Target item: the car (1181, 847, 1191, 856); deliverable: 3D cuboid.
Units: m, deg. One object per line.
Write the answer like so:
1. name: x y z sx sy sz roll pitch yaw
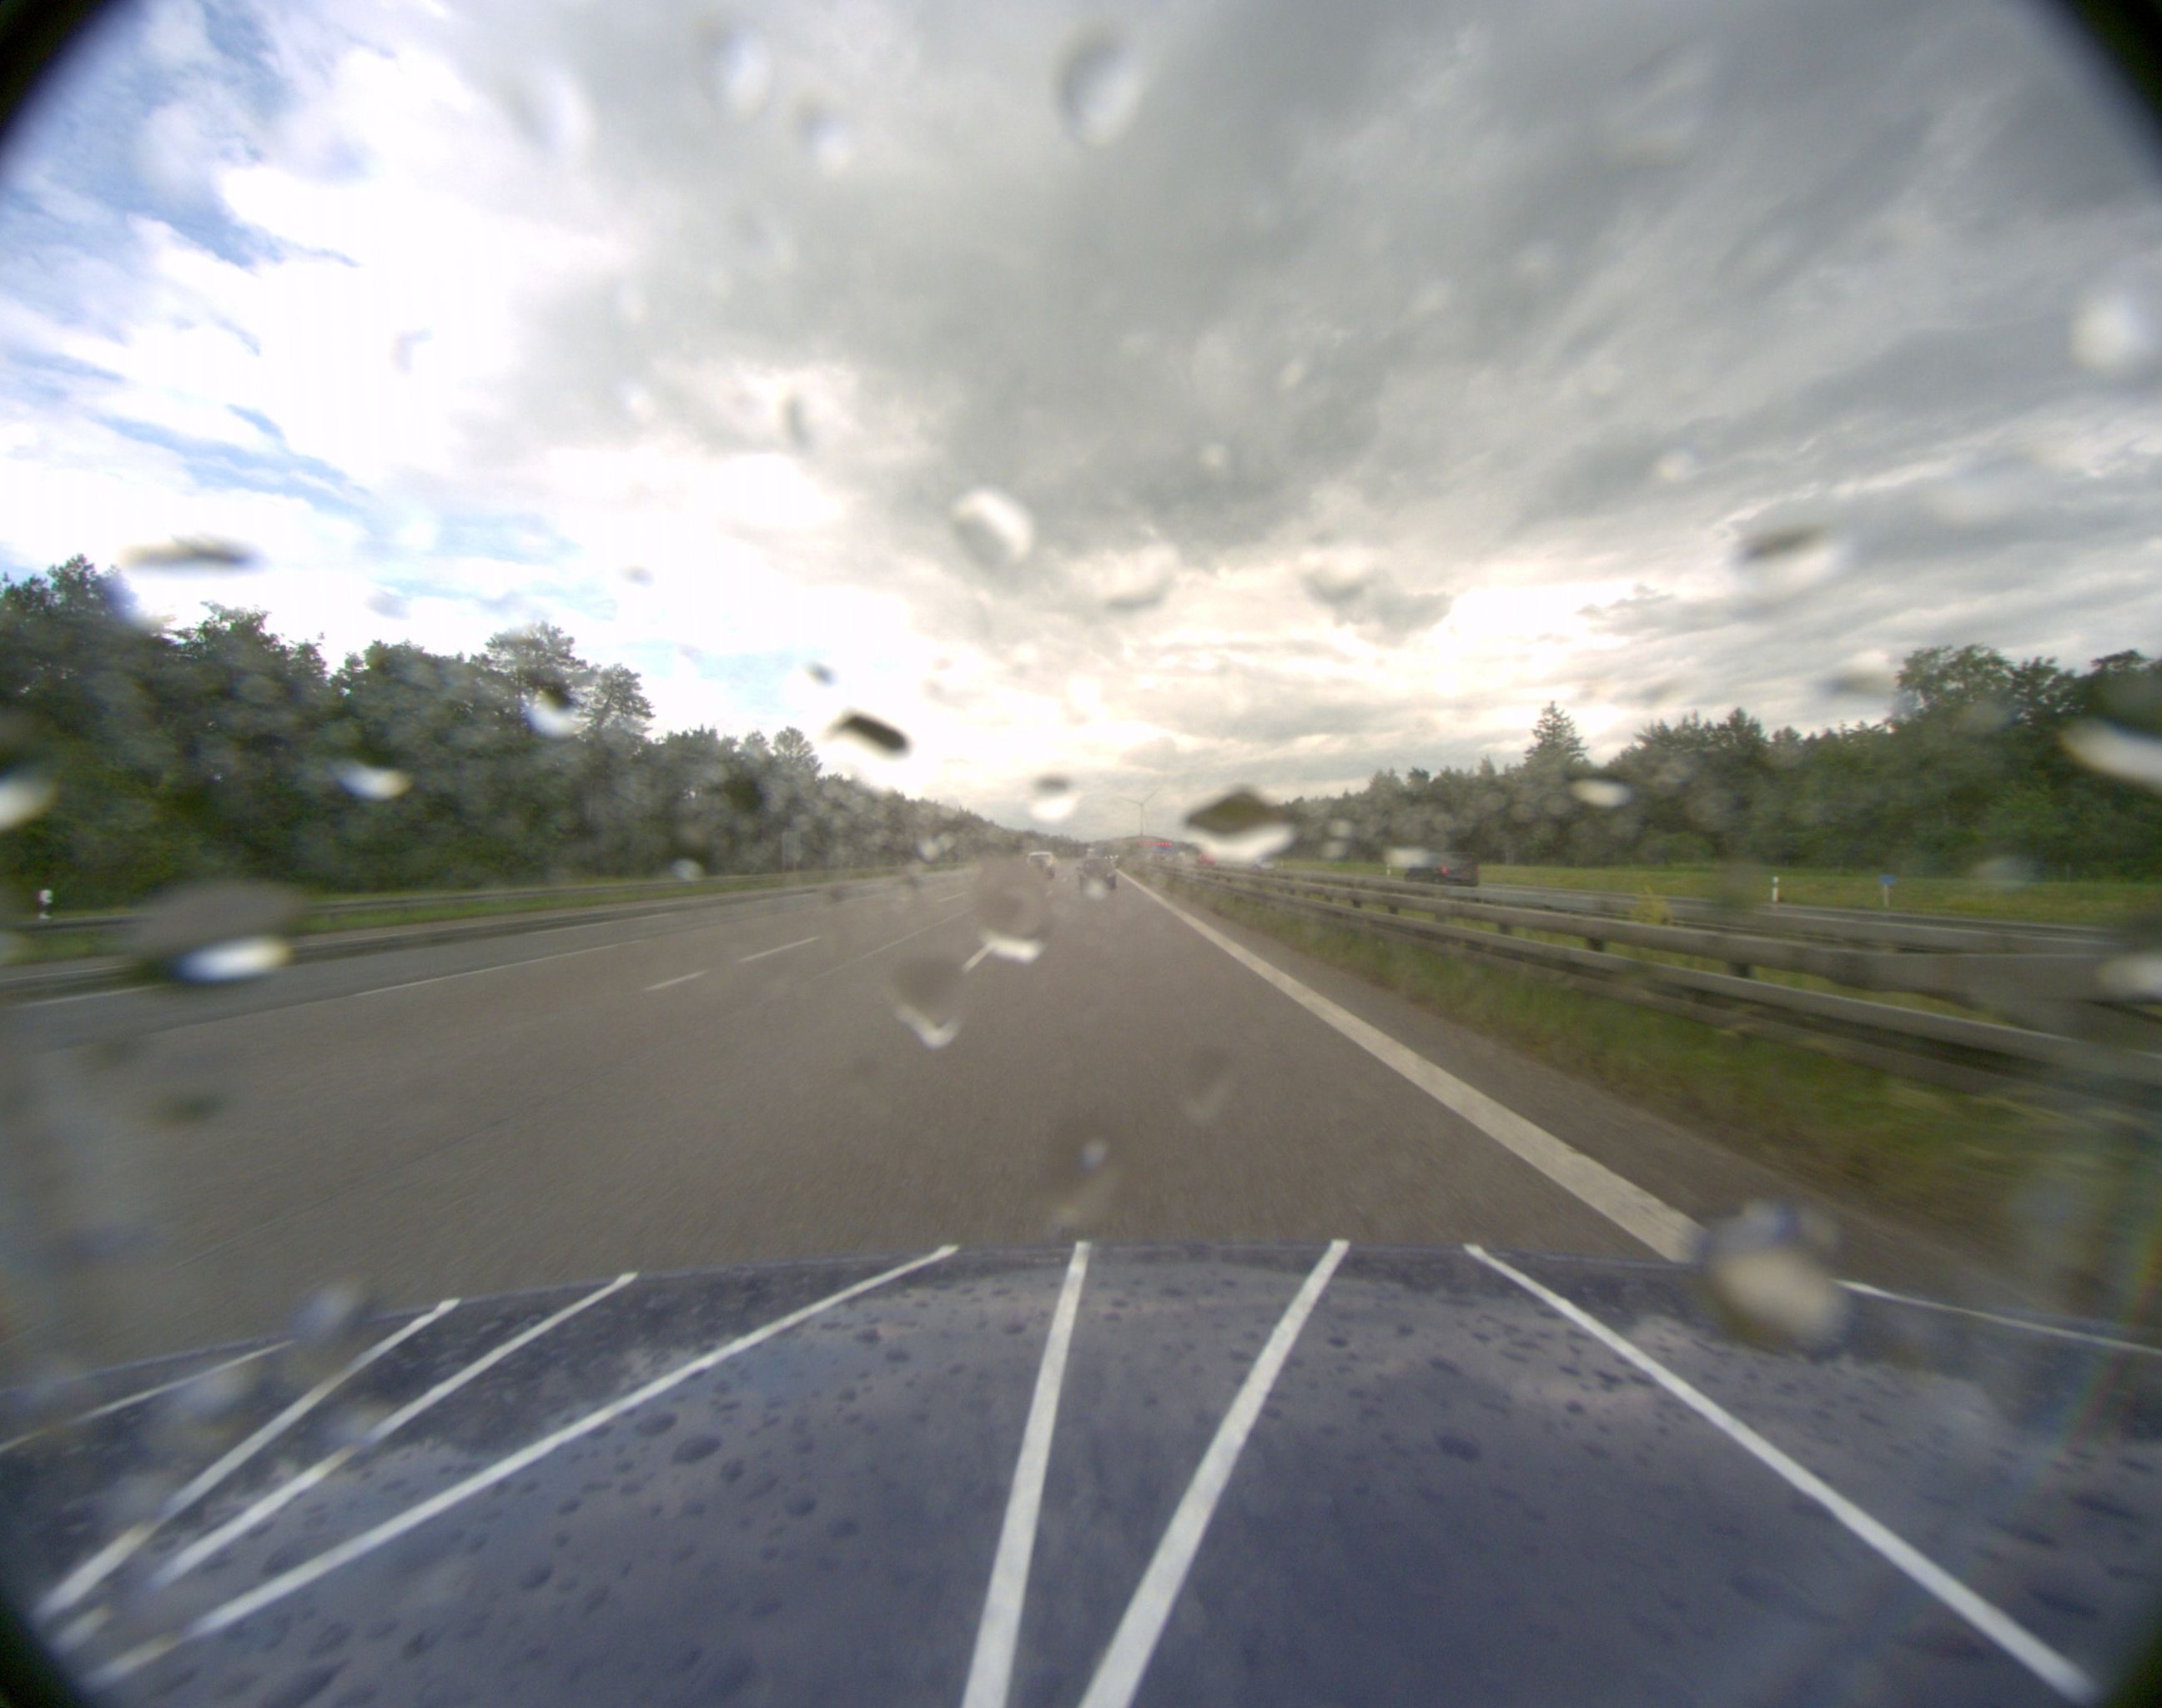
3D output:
1. car: 29.513 -0.787 214.124 2.103 2.496 6.584 1 0 2

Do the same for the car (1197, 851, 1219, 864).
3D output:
1. car: 15.538 0.406 93.300 1.998 1.600 4.608 -1 0 1

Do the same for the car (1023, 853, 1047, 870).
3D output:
1. car: -5.828 0.926 96.707 1.997 2.002 5.486 -2 0 8

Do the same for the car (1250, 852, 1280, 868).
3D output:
1. car: 18.821 0.601 77.974 1.998 1.492 4.608 1 1 1

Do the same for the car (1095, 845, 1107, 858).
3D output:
1. car: 3.438 -0.447 130.261 1.998 2.002 4.000 -3 0 1

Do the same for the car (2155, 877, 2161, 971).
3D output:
1. car: 17.437 1.091 9.507 1.854 1.436 4.320 1 1 0

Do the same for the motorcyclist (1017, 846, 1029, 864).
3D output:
1. motorcyclist: -5.271 0.079 69.380 0.893 1.605 0.959 -1 1 5

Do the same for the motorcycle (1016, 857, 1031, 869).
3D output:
1. motorcycle: -5.250 0.804 69.432 1.002 1.025 2.174 -1 0 5

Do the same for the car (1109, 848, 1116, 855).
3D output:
1. car: 9.740 -0.715 233.936 2.179 2.002 4.362 -2 0 2

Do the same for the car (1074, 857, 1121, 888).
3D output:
1. car: 0.834 0.810 35.329 1.809 1.321 4.433 0 0 6

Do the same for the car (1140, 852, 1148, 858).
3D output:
1. car: 16.451 0.253 199.381 1.879 1.423 3.999 0 1 0

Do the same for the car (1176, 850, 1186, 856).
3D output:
1. car: 23.384 -0.230 177.572 1.879 1.464 3.999 0 1 0

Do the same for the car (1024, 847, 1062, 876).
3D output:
1. car: -2.625 0.503 53.696 1.968 1.890 4.883 -1 0 5

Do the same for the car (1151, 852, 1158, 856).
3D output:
1. car: 21.815 -0.013 224.462 1.701 1.317 4.668 1 0 2

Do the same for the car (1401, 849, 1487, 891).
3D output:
1. car: 17.990 0.716 37.924 1.998 1.906 4.724 2 0 1
